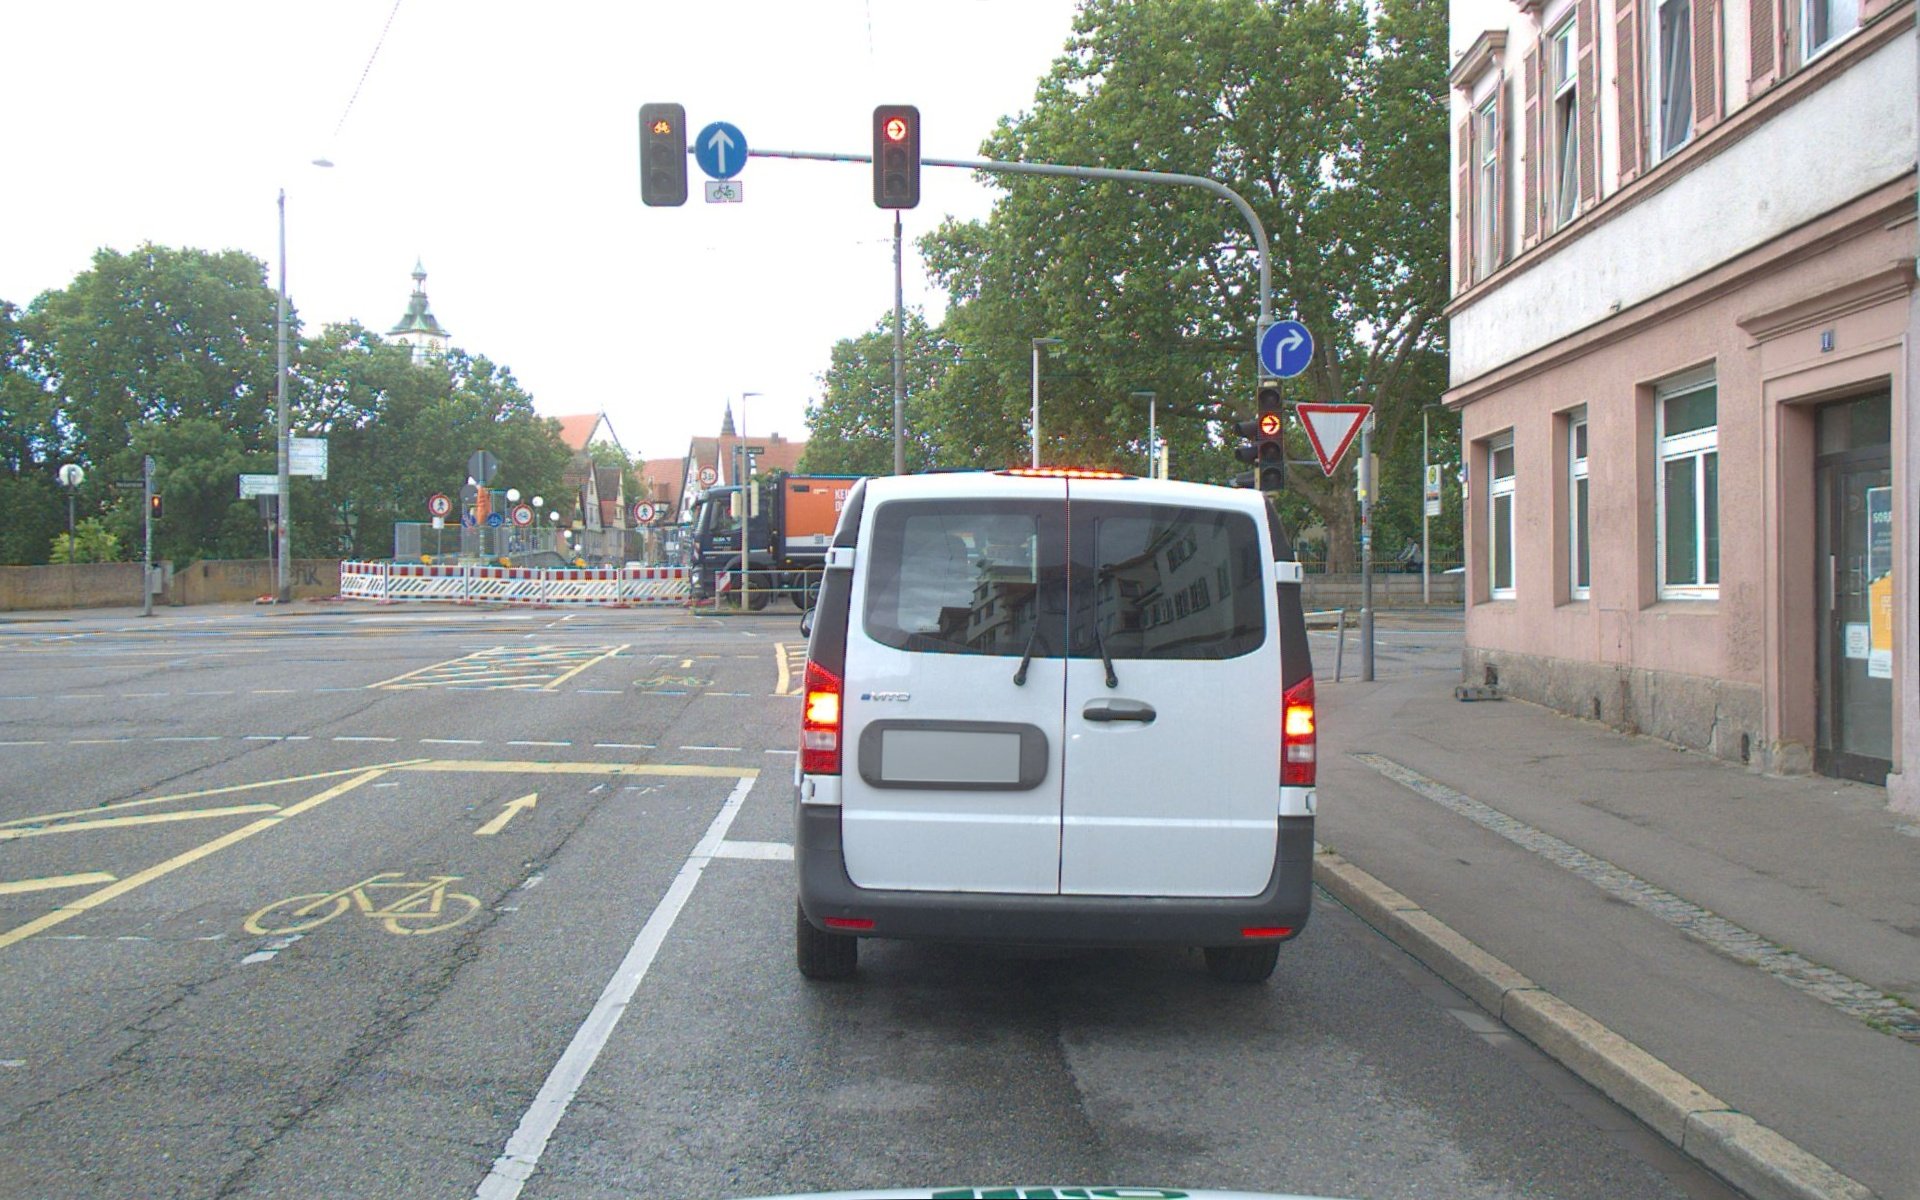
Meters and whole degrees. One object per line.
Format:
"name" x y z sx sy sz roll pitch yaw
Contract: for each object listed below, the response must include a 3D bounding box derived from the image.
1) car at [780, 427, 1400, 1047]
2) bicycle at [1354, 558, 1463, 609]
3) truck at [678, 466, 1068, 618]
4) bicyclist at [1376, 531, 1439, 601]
"car" 0.320 0.374 7.379 1.954 1.956 4.247 1 2 -3
"bicycle" 14.384 -0.531 53.110 3.092 1.597 1.465 0 0 -15
"truck" -2.283 -1.457 43.200 10.002 3.760 2.265 0 0 -11
"bicyclist" 14.353 -1.082 53.100 1.538 2.194 1.243 0 0 -15
